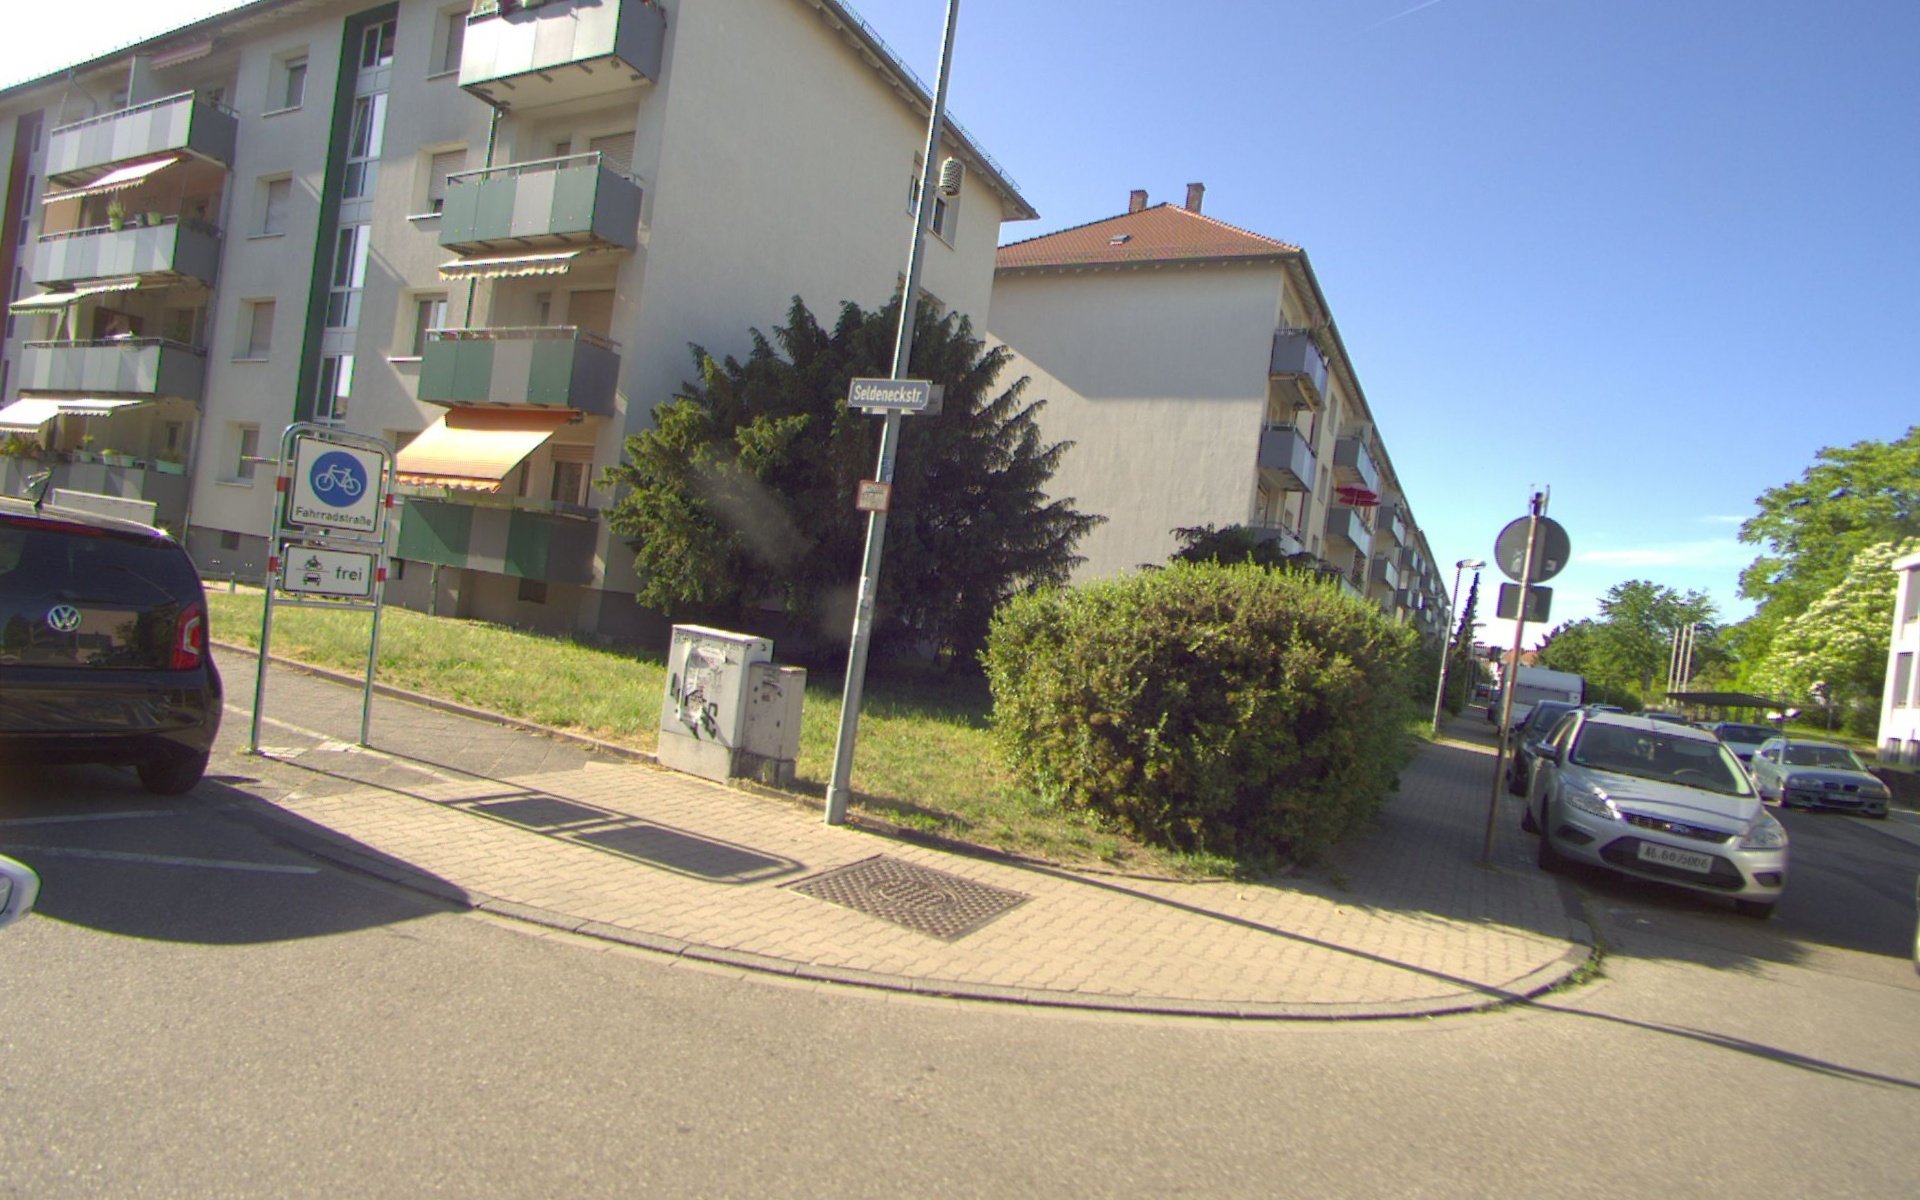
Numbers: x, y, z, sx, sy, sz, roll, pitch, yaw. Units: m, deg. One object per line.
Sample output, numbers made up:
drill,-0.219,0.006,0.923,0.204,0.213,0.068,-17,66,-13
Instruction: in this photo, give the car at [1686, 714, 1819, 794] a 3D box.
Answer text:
car,21.825,4.186,27.920,1.965,1.647,4.557,7,-1,29

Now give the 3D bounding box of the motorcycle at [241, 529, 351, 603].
motorcycle,-12.803,-0.657,19.384,1.999,1.165,0.585,7,0,20

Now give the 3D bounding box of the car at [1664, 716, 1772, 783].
car,24.242,4.721,32.341,1.898,1.601,4.557,7,-1,28

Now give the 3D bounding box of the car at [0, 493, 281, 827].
car,-5.777,0.100,5.608,3.728,1.490,1.663,7,-2,29

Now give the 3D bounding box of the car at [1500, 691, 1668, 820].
car,9.870,2.365,16.210,1.791,1.529,3.981,7,-1,27

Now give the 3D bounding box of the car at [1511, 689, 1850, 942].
car,6.789,1.854,10.042,1.880,1.642,4.419,7,-1,27

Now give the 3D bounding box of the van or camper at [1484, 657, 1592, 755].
van or camper,18.506,3.372,32.457,2.432,2.568,5.241,7,-1,27

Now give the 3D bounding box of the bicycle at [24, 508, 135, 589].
bicycle,-14.308,-0.843,16.341,1.864,1.090,0.721,7,0,31

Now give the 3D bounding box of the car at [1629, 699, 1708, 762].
car,28.141,5.139,40.086,1.967,2.037,4.555,7,-1,31

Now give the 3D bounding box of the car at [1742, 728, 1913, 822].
car,18.636,3.691,21.836,1.869,1.497,4.157,3,-3,28

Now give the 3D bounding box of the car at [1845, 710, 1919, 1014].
car,6.594,1.648,5.478,1.873,1.811,4.149,7,-1,33

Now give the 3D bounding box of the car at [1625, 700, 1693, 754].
car,31.119,5.604,44.896,1.753,2.037,4.557,7,-1,28
